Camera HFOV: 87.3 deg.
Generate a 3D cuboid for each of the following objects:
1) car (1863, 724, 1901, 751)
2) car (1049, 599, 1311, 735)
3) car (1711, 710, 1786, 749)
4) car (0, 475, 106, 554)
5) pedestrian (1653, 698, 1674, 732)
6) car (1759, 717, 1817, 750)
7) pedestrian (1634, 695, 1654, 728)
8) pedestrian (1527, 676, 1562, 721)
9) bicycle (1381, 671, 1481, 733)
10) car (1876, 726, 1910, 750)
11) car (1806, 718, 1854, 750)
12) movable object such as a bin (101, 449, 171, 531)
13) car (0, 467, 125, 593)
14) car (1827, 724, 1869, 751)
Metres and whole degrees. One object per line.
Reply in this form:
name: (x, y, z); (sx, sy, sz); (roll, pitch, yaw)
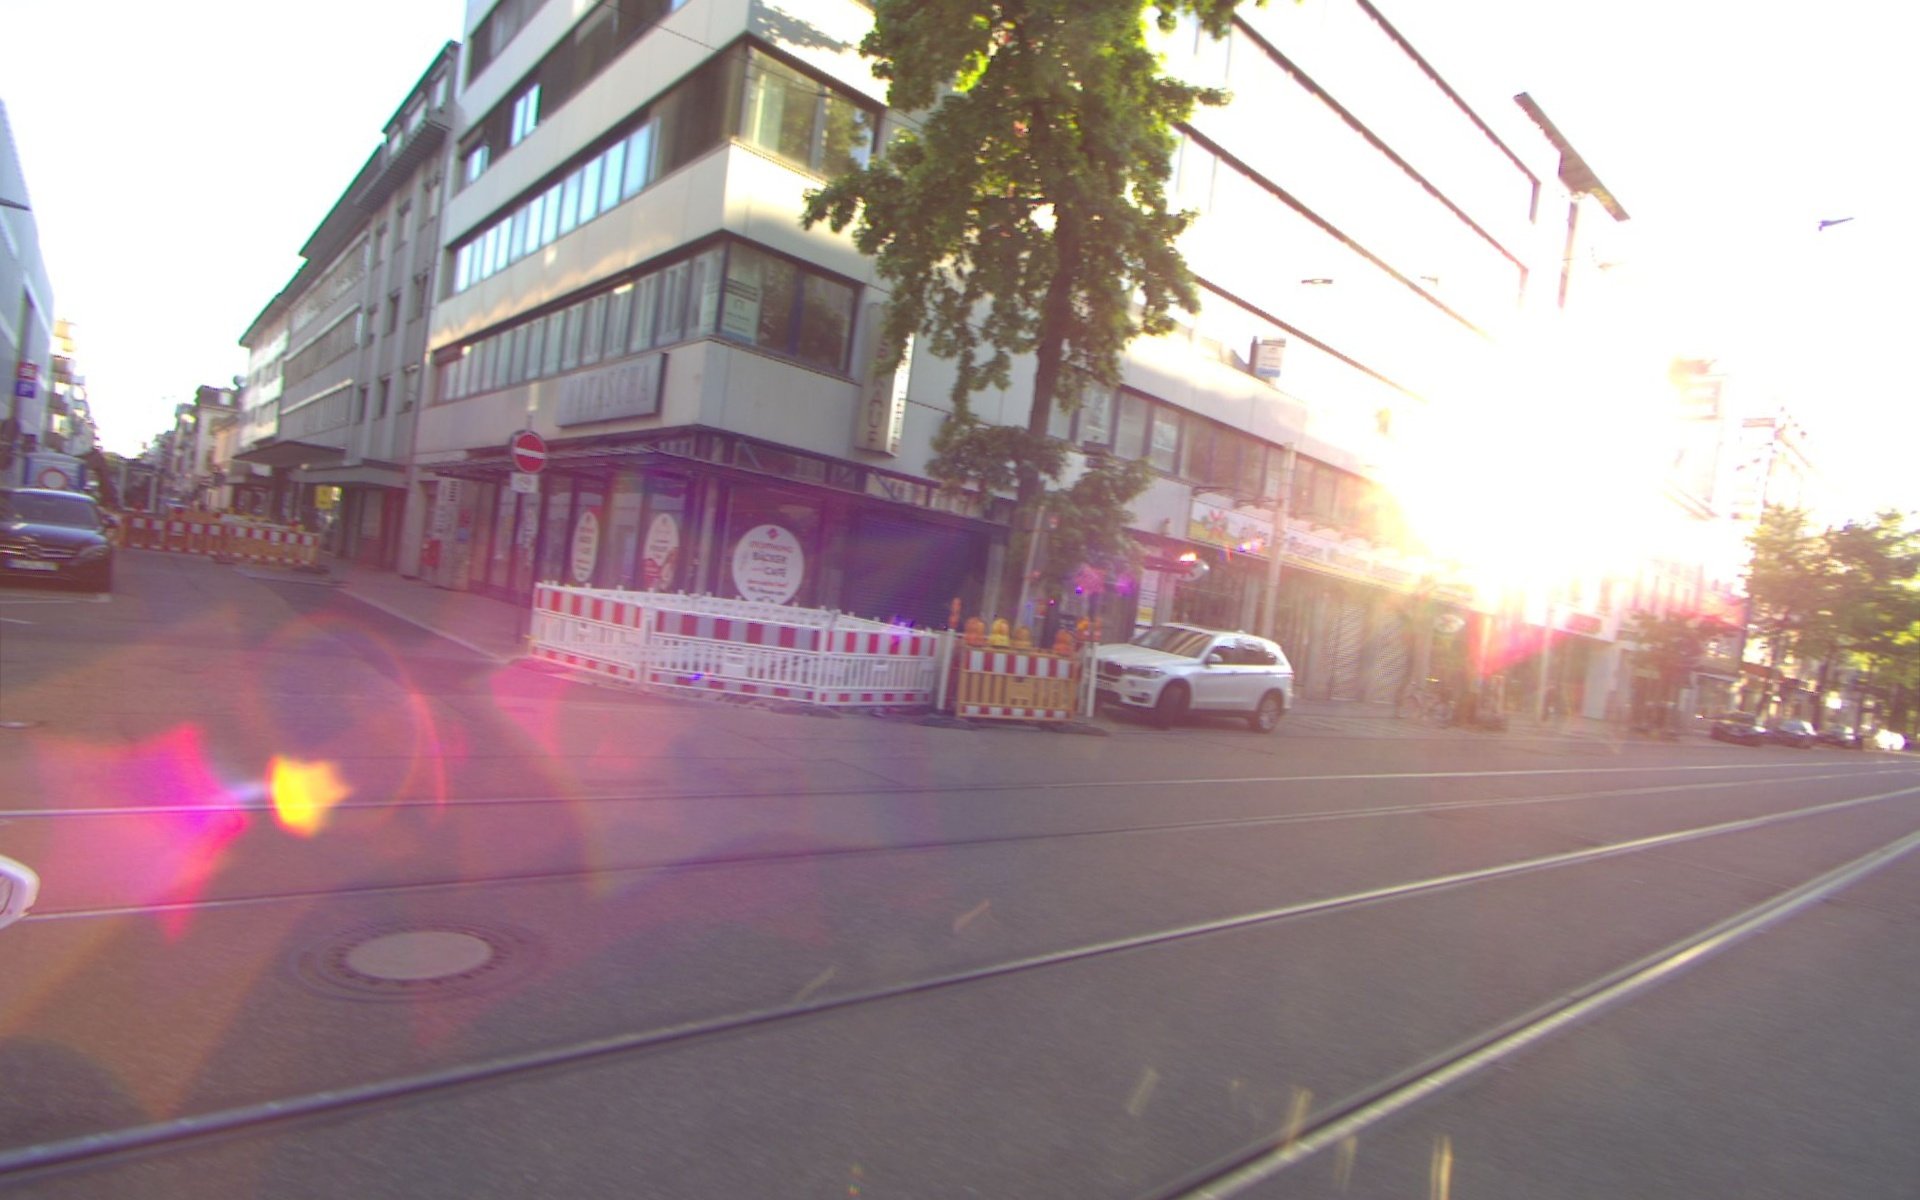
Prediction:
car: (72.626, 10.844, 79.238); (4.077, 1.759, 1.719); (8, 0, -42)
car: (4.043, 1.254, 18.083); (4.636, 1.793, 1.977); (8, 2, -40)
car: (37.232, 6.108, 47.478); (4.077, 1.379, 1.980); (8, 2, -42)
car: (-21.046, -1.990, 23.256); (1.765, 1.494, 4.107); (6, 1, -39)
pedestrian: (34.190, 5.572, 48.900); (0.742, 1.576, 0.472); (5, 3, -41)
car: (44.305, 7.150, 53.807); (4.078, 1.336, 1.718); (8, 2, -43)
pedestrian: (33.479, 5.454, 49.218); (0.742, 1.567, 0.472); (5, 2, -41)
pedestrian: (22.174, 3.750, 38.194); (0.832, 1.578, 0.722); (6, 2, -39)
bicycle: (12.299, 2.655, 26.352); (0.754, 1.174, 2.144); (6, 4, -35)
car: (81.115, 12.031, 87.445); (4.077, 1.759, 1.719); (8, 0, -42)
car: (56.723, 8.727, 65.589); (4.080, 1.713, 1.879); (8, 0, -44)
movable object such as a bin: (-28.181, -3.737, 34.467); (1.427, 2.525, 1.742); (7, 1, -32)
car: (-14.493, -1.164, 15.821); (1.888, 1.633, 4.107); (6, 1, -39)
car: (60.892, 9.430, 68.963); (3.822, 1.498, 1.667); (8, 0, -43)
